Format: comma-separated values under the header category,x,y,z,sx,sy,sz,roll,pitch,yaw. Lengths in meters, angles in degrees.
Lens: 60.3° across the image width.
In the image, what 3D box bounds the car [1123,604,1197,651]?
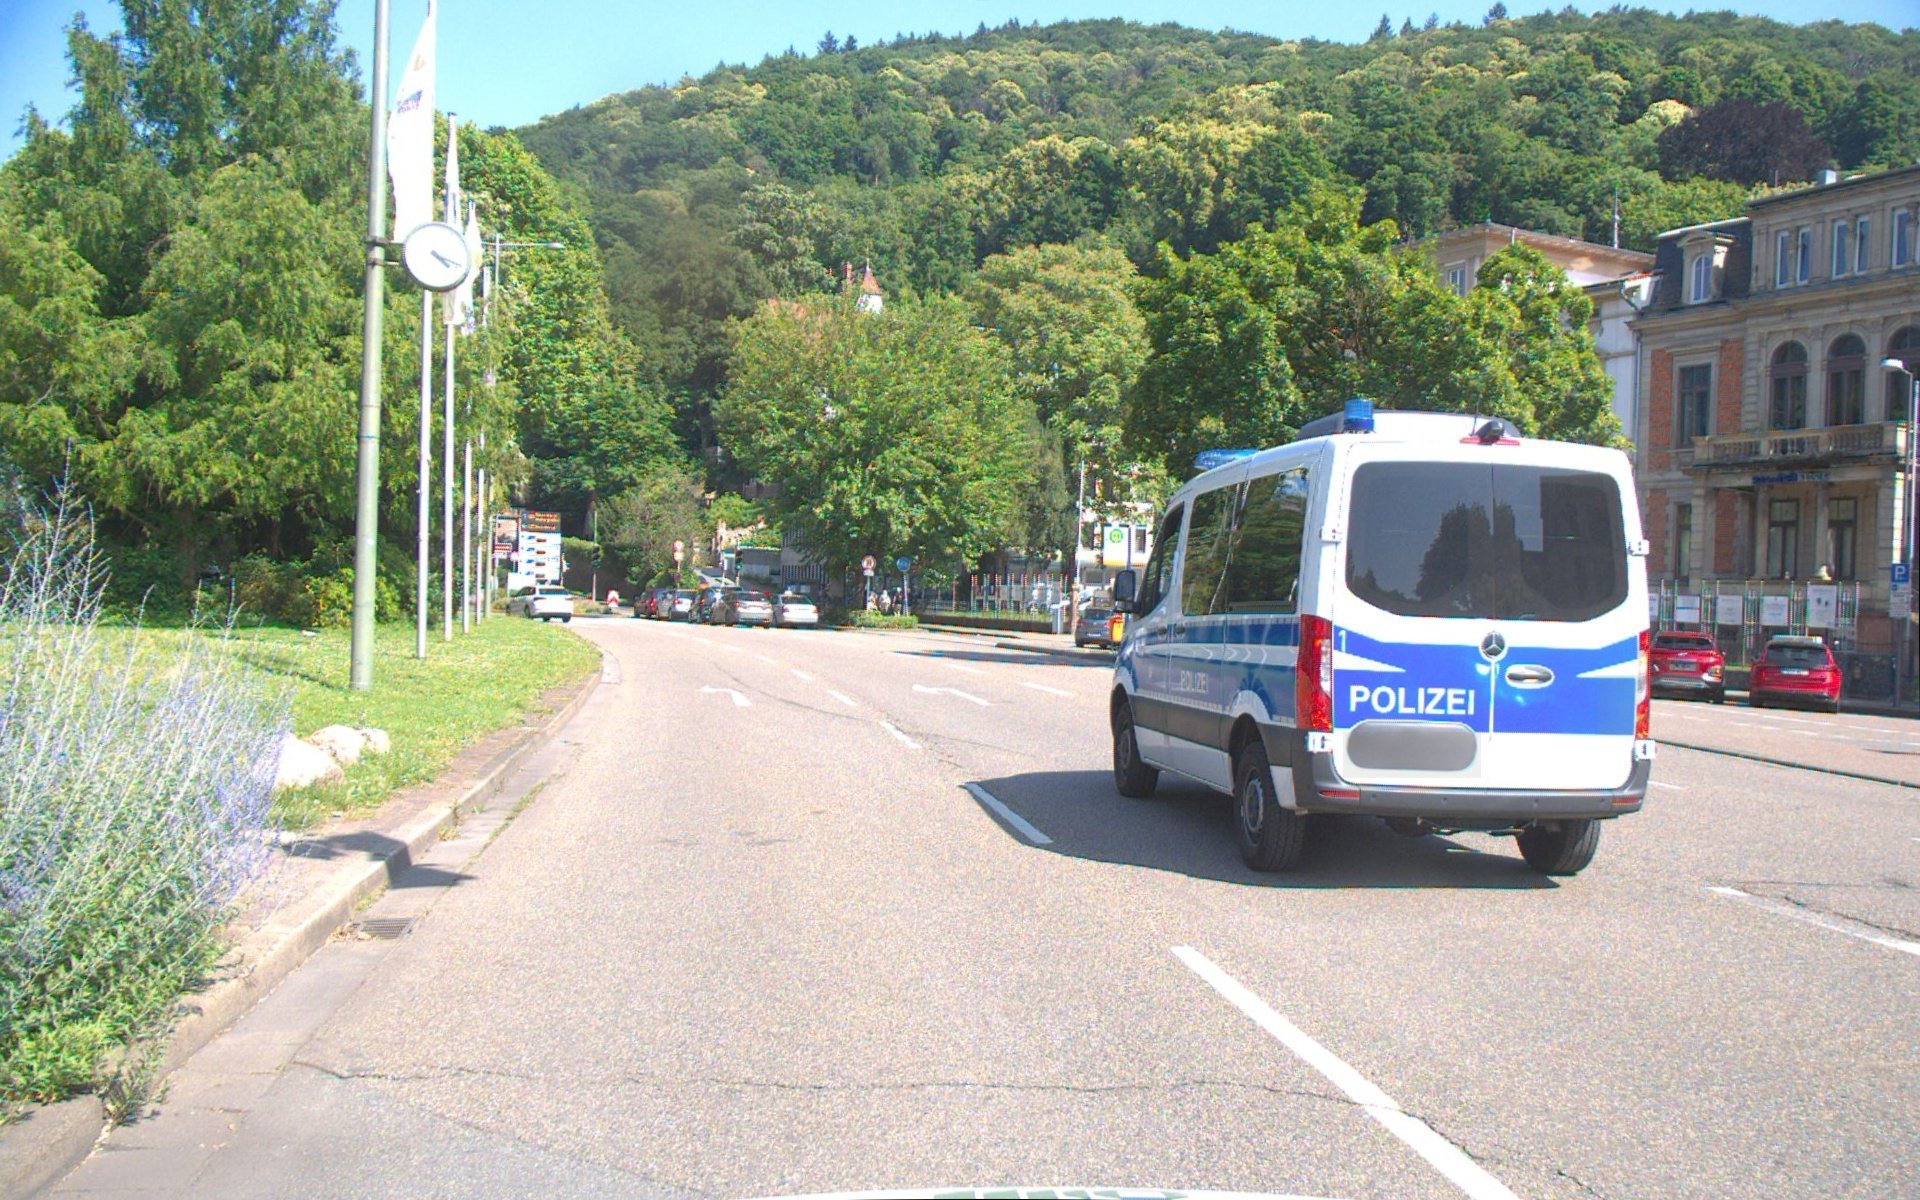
category,x,y,z,sx,sy,sz,roll,pitch,yaw
car,7.088,0.949,58.286,1.673,1.538,3.811,2,0,21

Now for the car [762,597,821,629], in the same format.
category,x,y,z,sx,sy,sz,roll,pitch,yaw
car,-7.224,0.532,70.719,1.730,1.234,3.475,2,0,-19

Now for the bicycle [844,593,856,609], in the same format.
category,x,y,z,sx,sy,sz,roll,pitch,yaw
bicycle,-6.935,0.052,104.478,0.399,0.957,1.334,1,1,-18

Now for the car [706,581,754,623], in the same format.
category,x,y,z,sx,sy,sz,roll,pitch,yaw
car,-11.614,0.081,83.267,1.730,1.972,3.475,2,0,-19

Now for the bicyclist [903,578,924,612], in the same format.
category,x,y,z,sx,sy,sz,roll,pitch,yaw
bicyclist,-2.736,-0.283,96.890,1.104,1.966,0.747,2,0,-7

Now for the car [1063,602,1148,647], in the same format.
category,x,y,z,sx,sy,sz,roll,pitch,yaw
car,5.344,0.889,60.340,1.786,1.487,4.105,2,0,25

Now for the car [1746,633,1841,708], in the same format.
category,x,y,z,sx,sy,sz,roll,pitch,yaw
car,17.992,1.474,35.635,1.711,1.443,3.695,2,0,28

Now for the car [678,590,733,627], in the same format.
category,x,y,z,sx,sy,sz,roll,pitch,yaw
car,-10.984,0.361,71.275,1.730,1.486,3.475,2,0,-19

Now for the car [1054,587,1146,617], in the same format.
category,x,y,z,sx,sy,sz,roll,pitch,yaw
car,6.721,0.092,79.545,4.027,1.359,1.810,1,0,-22

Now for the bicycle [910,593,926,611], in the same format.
category,x,y,z,sx,sy,sz,roll,pitch,yaw
bicycle,-2.598,0.107,102.601,0.529,1.104,1.826,1,0,-17

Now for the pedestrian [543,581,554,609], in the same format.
category,x,y,z,sx,sy,sz,roll,pitch,yaw
pedestrian,-24.046,-0.302,96.571,0.537,1.649,0.633,1,1,-10

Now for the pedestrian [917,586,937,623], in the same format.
category,x,y,z,sx,sy,sz,roll,pitch,yaw
pedestrian,-1.718,0.234,85.893,0.760,1.886,0.824,2,0,-20

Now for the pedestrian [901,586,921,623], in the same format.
category,x,y,z,sx,sy,sz,roll,pitch,yaw
pedestrian,-2.534,0.241,85.685,0.760,1.886,0.824,2,0,-20

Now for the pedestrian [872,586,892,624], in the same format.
category,x,y,z,sx,sy,sz,roll,pitch,yaw
pedestrian,-4.009,0.260,84.968,0.759,1.886,0.825,2,0,-18

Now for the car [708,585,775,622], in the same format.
category,x,y,z,sx,sy,sz,roll,pitch,yaw
car,-8.699,0.123,65.685,1.731,1.357,3.777,2,0,-22

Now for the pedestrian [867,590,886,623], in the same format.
category,x,y,z,sx,sy,sz,roll,pitch,yaw
pedestrian,-4.389,0.336,86.966,0.759,1.692,0.825,2,0,-19

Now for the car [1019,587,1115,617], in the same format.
category,x,y,z,sx,sy,sz,roll,pitch,yaw
car,5.294,0.105,81.723,4.403,1.359,1.810,1,0,-22

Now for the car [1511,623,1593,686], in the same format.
category,x,y,z,sx,sy,sz,roll,pitch,yaw
car,14.815,1.320,41.282,1.569,1.442,3.818,2,0,24

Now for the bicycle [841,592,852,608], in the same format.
category,x,y,z,sx,sy,sz,roll,pitch,yaw
bicycle,-7.290,0.003,106.460,0.399,1.030,1.334,1,1,-18

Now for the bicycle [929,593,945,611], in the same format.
category,x,y,z,sx,sy,sz,roll,pitch,yaw
bicycle,-1.430,0.129,102.869,0.529,1.104,1.826,1,0,-17

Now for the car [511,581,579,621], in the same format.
category,x,y,z,sx,sy,sz,roll,pitch,yaw
car,-16.704,0.023,66.451,1.821,1.485,3.461,2,0,-28

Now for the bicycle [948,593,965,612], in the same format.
category,x,y,z,sx,sy,sz,roll,pitch,yaw
bicycle,-0.242,0.151,103.285,0.529,1.104,1.826,1,0,-17

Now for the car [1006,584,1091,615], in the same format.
category,x,y,z,sx,sy,sz,roll,pitch,yaw
car,4.626,-0.016,86.540,4.088,1.501,1.864,1,0,-24

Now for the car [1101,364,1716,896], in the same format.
category,x,y,z,sx,sy,sz,roll,pitch,yaw
car,2.446,0.169,10.588,2.034,2.552,4.921,2,0,-7

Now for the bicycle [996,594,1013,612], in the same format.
category,x,y,z,sx,sy,sz,roll,pitch,yaw
bicycle,2.779,0.208,103.946,0.529,1.104,1.826,1,0,-17

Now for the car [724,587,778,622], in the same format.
category,x,y,z,sx,sy,sz,roll,pitch,yaw
car,-9.647,0.207,76.111,1.730,1.486,3.626,2,0,-19

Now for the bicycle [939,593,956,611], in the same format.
category,x,y,z,sx,sy,sz,roll,pitch,yaw
bicycle,-0.797,0.141,103.084,0.529,1.104,1.826,1,0,-17

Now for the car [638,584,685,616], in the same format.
category,x,y,z,sx,sy,sz,roll,pitch,yaw
car,-14.670,-0.018,81.191,1.730,1.486,3.475,2,0,-19

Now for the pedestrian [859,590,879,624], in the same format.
category,x,y,z,sx,sy,sz,roll,pitch,yaw
pedestrian,-4.721,0.362,85.754,0.759,1.692,0.825,2,0,-18

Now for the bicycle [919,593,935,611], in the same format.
category,x,y,z,sx,sy,sz,roll,pitch,yaw
bicycle,-2.042,0.118,102.786,0.529,1.104,1.826,1,0,-17

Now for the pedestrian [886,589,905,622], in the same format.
category,x,y,z,sx,sy,sz,roll,pitch,yaw
pedestrian,-3.333,0.289,85.475,0.759,1.692,0.825,2,0,-17

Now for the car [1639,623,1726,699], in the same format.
category,x,y,z,sx,sy,sz,roll,pitch,yaw
car,16.817,1.379,38.453,1.710,1.602,3.875,2,0,25

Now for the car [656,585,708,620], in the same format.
category,x,y,z,sx,sy,sz,roll,pitch,yaw
car,-12.772,0.092,75.922,1.730,1.486,3.626,2,0,-19
